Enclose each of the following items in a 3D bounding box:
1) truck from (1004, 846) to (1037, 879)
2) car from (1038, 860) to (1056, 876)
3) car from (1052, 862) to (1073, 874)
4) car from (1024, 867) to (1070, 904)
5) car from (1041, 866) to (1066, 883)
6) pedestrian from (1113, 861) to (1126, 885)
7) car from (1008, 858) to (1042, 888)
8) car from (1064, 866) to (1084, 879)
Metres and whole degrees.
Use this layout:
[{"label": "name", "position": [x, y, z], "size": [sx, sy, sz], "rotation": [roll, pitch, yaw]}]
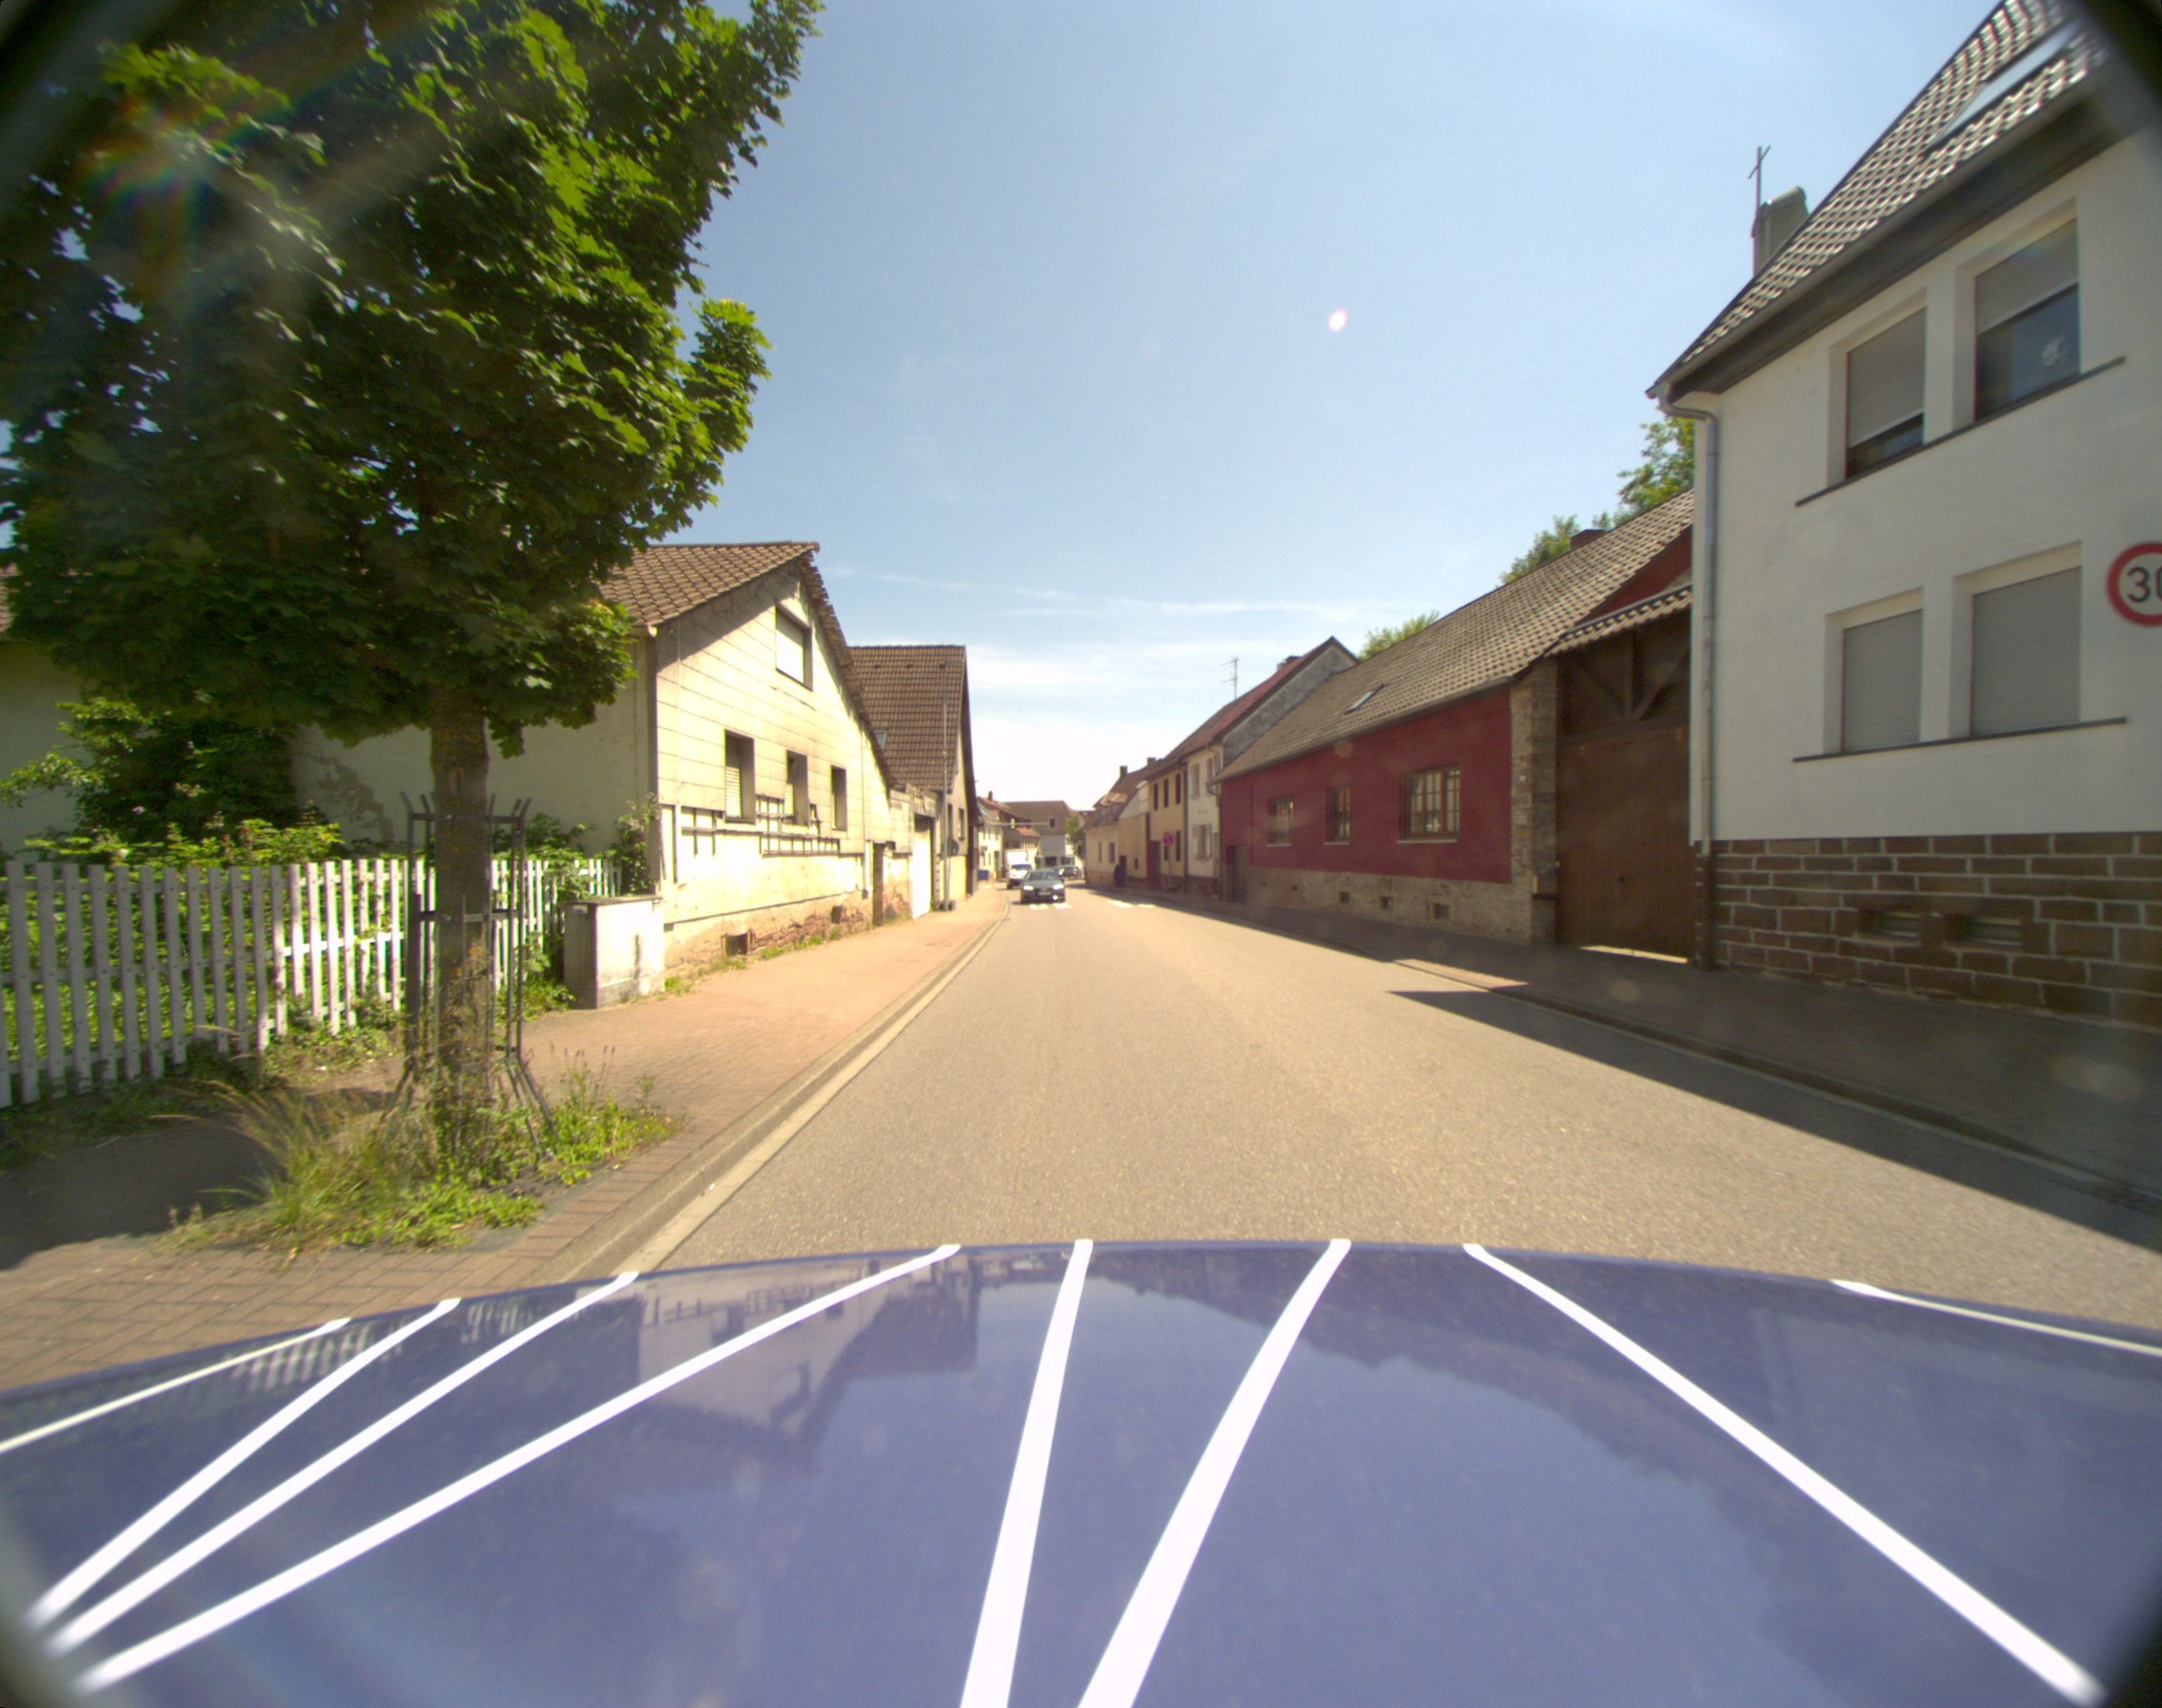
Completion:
[{"label": "truck", "position": [-6.672, 0.816, 84.879], "size": [2.867, 3.492, 8.319], "rotation": [0, 1, 2]}, {"label": "car", "position": [-3.614, 1.432, 79.789], "size": [1.816, 1.599, 4.336], "rotation": [0, -1, -3]}, {"label": "car", "position": [-2.711, 2.093, 113.102], "size": [1.996, 1.608, 4.004], "rotation": [-3, 0, 15]}, {"label": "car", "position": [-1.479, 1.294, 32.151], "size": [1.787, 1.364, 3.605], "rotation": [-1, 1, -4]}, {"label": "car", "position": [-2.311, 1.668, 62.872], "size": [1.700, 1.401, 4.197], "rotation": [0, 0, -8]}, {"label": "pedestrian", "position": [2.523, 1.249, 49.567], "size": [0.664, 1.555, 0.754], "rotation": [-2, 1, -6]}, {"label": "car", "position": [-4.131, 1.319, 54.987], "size": [2.080, 1.949, 5.514], "rotation": [-1, 1, -8]}, {"label": "car", "position": [-0.934, 2.432, 98.822], "size": [1.832, 1.612, 4.264], "rotation": [0, 0, 10]}]
